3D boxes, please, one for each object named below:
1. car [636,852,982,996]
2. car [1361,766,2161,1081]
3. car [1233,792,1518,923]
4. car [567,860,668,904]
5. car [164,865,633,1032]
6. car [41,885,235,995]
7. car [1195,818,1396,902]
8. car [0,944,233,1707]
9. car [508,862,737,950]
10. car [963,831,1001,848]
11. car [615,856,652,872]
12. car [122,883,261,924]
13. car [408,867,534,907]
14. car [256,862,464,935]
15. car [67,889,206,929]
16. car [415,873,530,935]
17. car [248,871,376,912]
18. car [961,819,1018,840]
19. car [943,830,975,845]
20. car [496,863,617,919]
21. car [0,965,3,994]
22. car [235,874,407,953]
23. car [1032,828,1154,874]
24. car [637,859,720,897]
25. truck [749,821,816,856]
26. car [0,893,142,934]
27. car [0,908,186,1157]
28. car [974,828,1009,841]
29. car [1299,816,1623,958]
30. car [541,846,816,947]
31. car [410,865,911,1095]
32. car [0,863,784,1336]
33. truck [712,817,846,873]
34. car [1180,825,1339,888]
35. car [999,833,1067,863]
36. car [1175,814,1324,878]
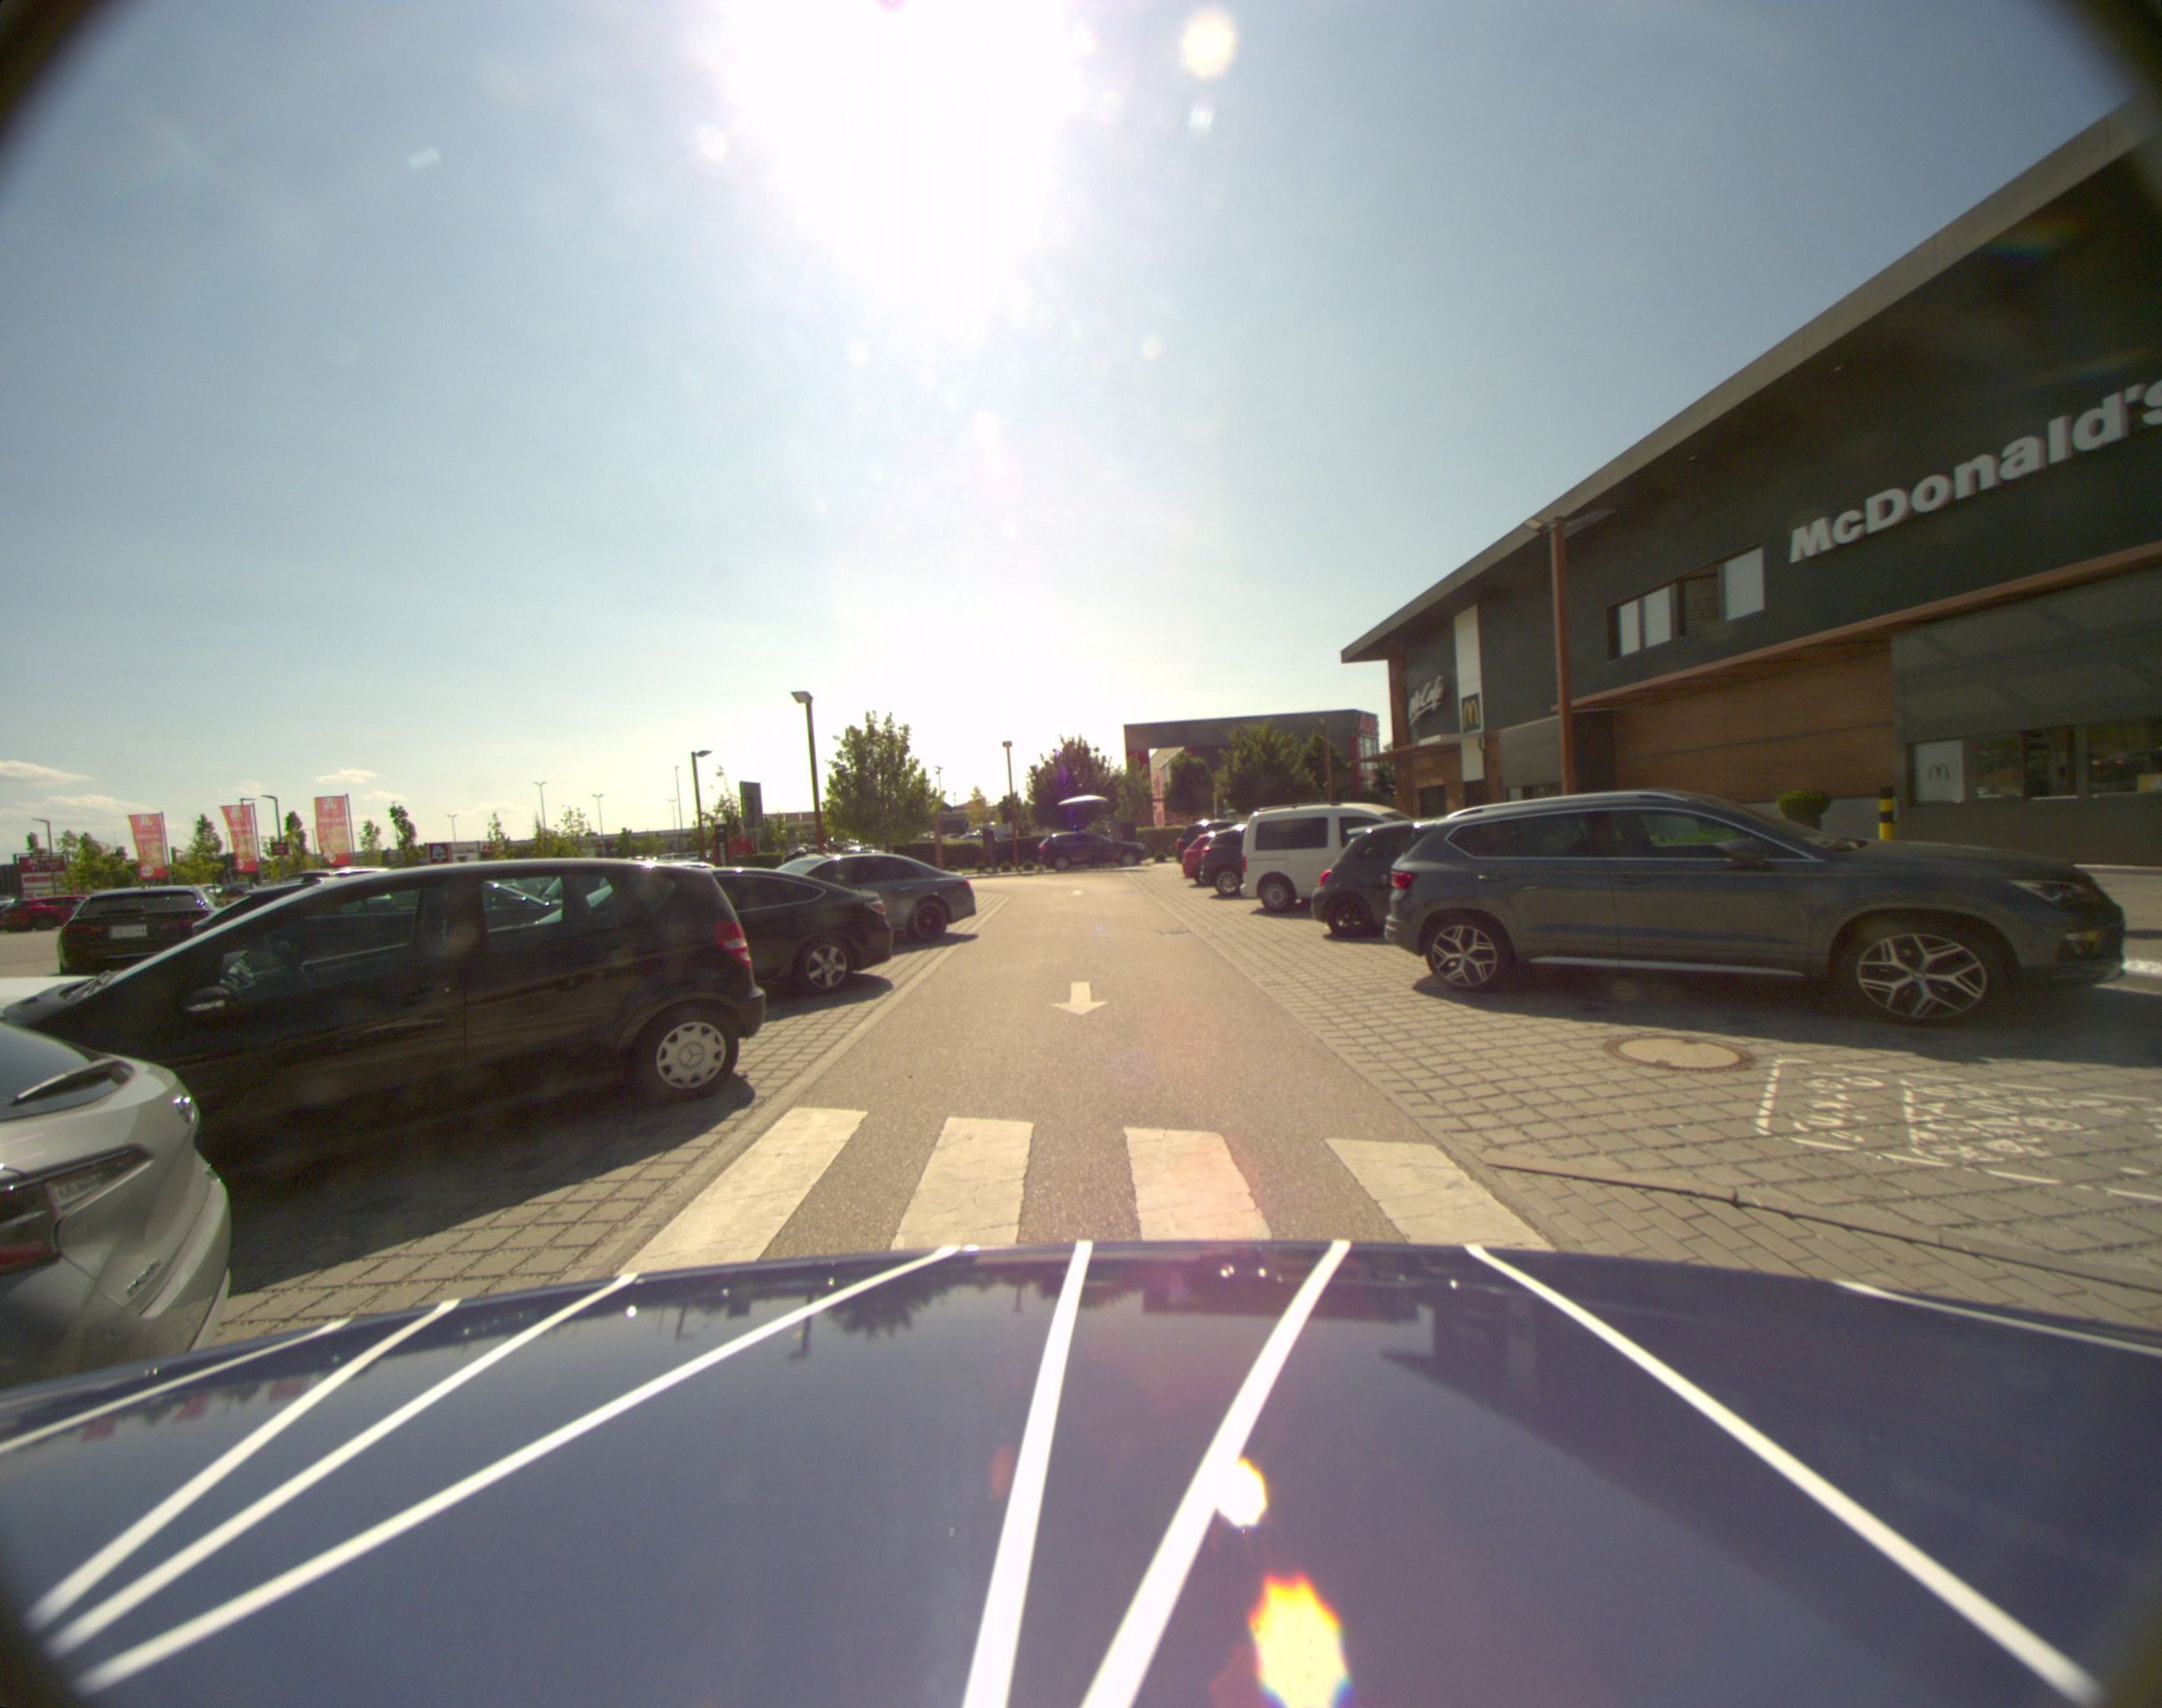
[{"bbox_3d":[-3.978,0.889,11.703,4.550,1.502,1.882,-5,3,-44],"label":"car"},{"bbox_3d":[4.711,0.406,5.978,4.217,1.594,1.793,-4,3,45],"label":"car"},{"bbox_3d":[4.936,0.059,13.010,4.134,1.911,1.761,-2,3,39],"label":"car"},{"bbox_3d":[-17.282,1.040,28.282,4.075,1.414,1.800,-2,3,38],"label":"car"},{"bbox_3d":[-9.054,1.083,10.557,4.424,1.502,1.978,-5,3,-44],"label":"car"},{"bbox_3d":[-16.526,1.387,13.523,3.989,1.481,1.824,-2,3,42],"label":"car"},{"bbox_3d":[4.693,0.151,16.748,3.834,1.623,1.761,-2,2,34],"label":"car"},{"bbox_3d":[-4.220,1.117,0.495,4.671,1.439,1.830,-3,1,-42],"label":"car"},{"bbox_3d":[-9.850,1.026,16.503,3.910,1.418,1.702,-5,2,-43],"label":"car"},{"bbox_3d":[-11.072,-1.638,85.225,3.998,1.718,1.893,-4,2,-4],"label":"car"},{"bbox_3d":[-50.319,1.070,85.479,1.537,1.548,3.225,-2,2,27],"label":"car"},{"bbox_3d":[-40.912,2.247,35.094,1.685,1.446,3.756,-3,2,8],"label":"car"},{"bbox_3d":[-27.347,1.441,34.268,1.886,1.390,4.156,-3,2,8],"label":"car"},{"bbox_3d":[-22.040,1.274,23.545,2.071,1.740,4.366,-3,2,1],"label":"car"},{"bbox_3d":[-45.010,2.580,36.347,1.685,1.446,3.756,-3,2,8],"label":"car"},{"bbox_3d":[-16.769,1.291,20.849,4.669,1.403,1.715,-2,3,43],"label":"car"},{"bbox_3d":[-34.993,1.663,34.714,1.685,1.446,3.756,-3,2,8],"label":"car"},{"bbox_3d":[-11.146,-3.022,93.283,6.567,2.232,2.300,-3,2,-1],"label":"car"},{"bbox_3d":[-16.600,-2.242,103.872,1.889,1.718,4.263,-2,2,31],"label":"car"},{"bbox_3d":[-16.916,1.164,24.460,4.044,1.548,1.809,-2,2,35],"label":"car"},{"bbox_3d":[-16.510,1.536,10.297,3.989,1.395,1.824,-2,3,39],"label":"car"},{"bbox_3d":[-17.763,1.346,17.721,4.341,1.503,1.781,-2,2,32],"label":"car"},{"bbox_3d":[0.487,-0.153,32.933,5.061,1.621,1.923,-3,2,-2],"label":"car"},{"bbox_3d":[-17.136,1.008,32.278,3.765,1.414,1.916,-2,3,43],"label":"car"},{"bbox_3d":[-31.729,-1.587,80.641,7.545,3.334,2.426,-2,3,33],"label":"truck"},{"bbox_3d":[-49.610,2.870,37.455,1.685,1.503,3.756,-3,2,8],"label":"car"},{"bbox_3d":[-8.266,1.238,4.191,4.089,1.400,1.788,-4,2,-45],"label":"car"},{"bbox_3d":[-10.658,-2.309,90.332,3.905,1.335,1.664,-3,2,-1],"label":"car"},{"bbox_3d":[4.760,0.382,9.677,3.406,1.474,1.571,-3,2,37],"label":"car"},{"bbox_3d":[-7.957,0.739,15.327,4.424,1.502,1.978,-5,3,-44],"label":"car"},{"bbox_3d":[-4.059,0.994,7.815,4.082,1.441,1.823,-5,3,-44],"label":"car"},{"bbox_3d":[-4.074,1.000,4.253,1.807,1.584,4.007,-1,3,45],"label":"car"},{"bbox_3d":[-23.794,-0.756,60.154,9.121,3.845,3.210,-3,2,3],"label":"truck"},{"bbox_3d":[4.770,0.075,20.398,3.763,1.436,1.677,-3,2,28],"label":"car"},{"bbox_3d":[-3.658,-0.523,59.141,5.017,2.003,1.999,-3,3,1],"label":"car"},{"bbox_3d":[5.107,-0.218,23.279,4.028,1.696,1.677,-3,3,38],"label":"car"}]
